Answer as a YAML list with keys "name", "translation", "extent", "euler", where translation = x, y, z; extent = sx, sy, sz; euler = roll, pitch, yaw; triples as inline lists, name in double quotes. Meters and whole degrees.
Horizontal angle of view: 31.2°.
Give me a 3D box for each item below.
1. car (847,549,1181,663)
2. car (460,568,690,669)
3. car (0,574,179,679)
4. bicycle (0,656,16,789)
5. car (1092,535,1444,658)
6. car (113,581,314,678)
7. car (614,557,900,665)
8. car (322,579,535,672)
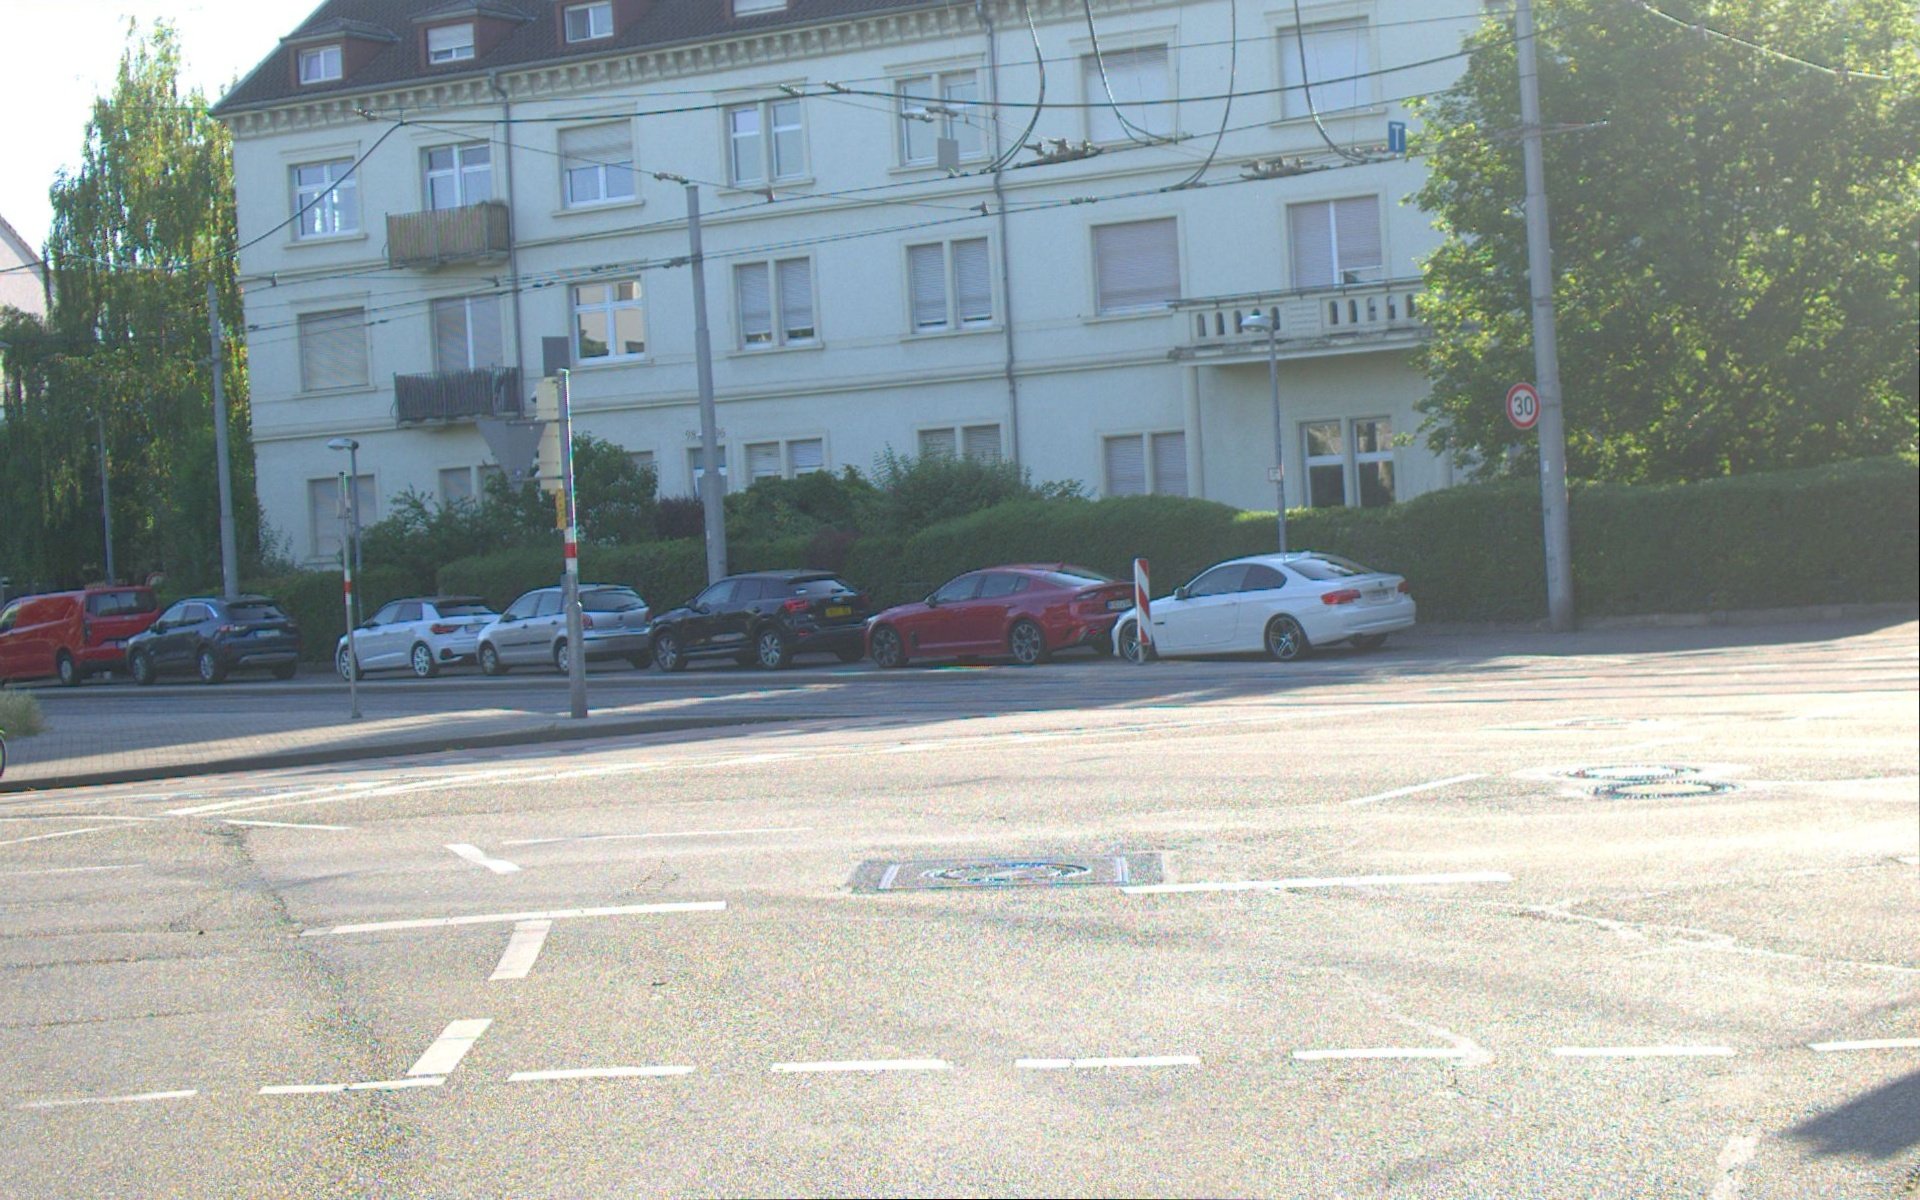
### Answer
- name: "car"
  translation: [0.744, 0.102, 50.122]
  extent: [4.702, 1.371, 1.982]
  euler: [-2, 3, 44]
- name: "car"
  translation: [-6.503, 0.323, 57.879]
  extent: [1.982, 1.442, 3.717]
  euler: [-7, 3, -41]
- name: "car"
  translation: [-18.655, 0.581, 72.250]
  extent: [2.051, 1.955, 5.148]
  euler: [-7, 3, -41]
- name: "bicycle"
  translation: [-8.875, 1.059, 28.294]
  extent: [2.012, 1.065, 0.664]
  euler: [-3, 1, -8]
- name: "car"
  translation: [4.084, -0.025, 46.126]
  extent: [1.926, 1.371, 4.494]
  euler: [-7, 3, -42]
- name: "car"
  translation: [-14.618, 0.599, 67.210]
  extent: [1.840, 1.662, 4.368]
  euler: [-7, 3, -41]
- name: "car"
  translation: [-3.268, 0.189, 54.632]
  extent: [1.982, 1.442, 4.703]
  euler: [-7, 3, -41]
- name: "car"
  translation: [-9.516, 0.466, 61.373]
  extent: [1.840, 1.442, 3.957]
  euler: [-7, 3, -41]
